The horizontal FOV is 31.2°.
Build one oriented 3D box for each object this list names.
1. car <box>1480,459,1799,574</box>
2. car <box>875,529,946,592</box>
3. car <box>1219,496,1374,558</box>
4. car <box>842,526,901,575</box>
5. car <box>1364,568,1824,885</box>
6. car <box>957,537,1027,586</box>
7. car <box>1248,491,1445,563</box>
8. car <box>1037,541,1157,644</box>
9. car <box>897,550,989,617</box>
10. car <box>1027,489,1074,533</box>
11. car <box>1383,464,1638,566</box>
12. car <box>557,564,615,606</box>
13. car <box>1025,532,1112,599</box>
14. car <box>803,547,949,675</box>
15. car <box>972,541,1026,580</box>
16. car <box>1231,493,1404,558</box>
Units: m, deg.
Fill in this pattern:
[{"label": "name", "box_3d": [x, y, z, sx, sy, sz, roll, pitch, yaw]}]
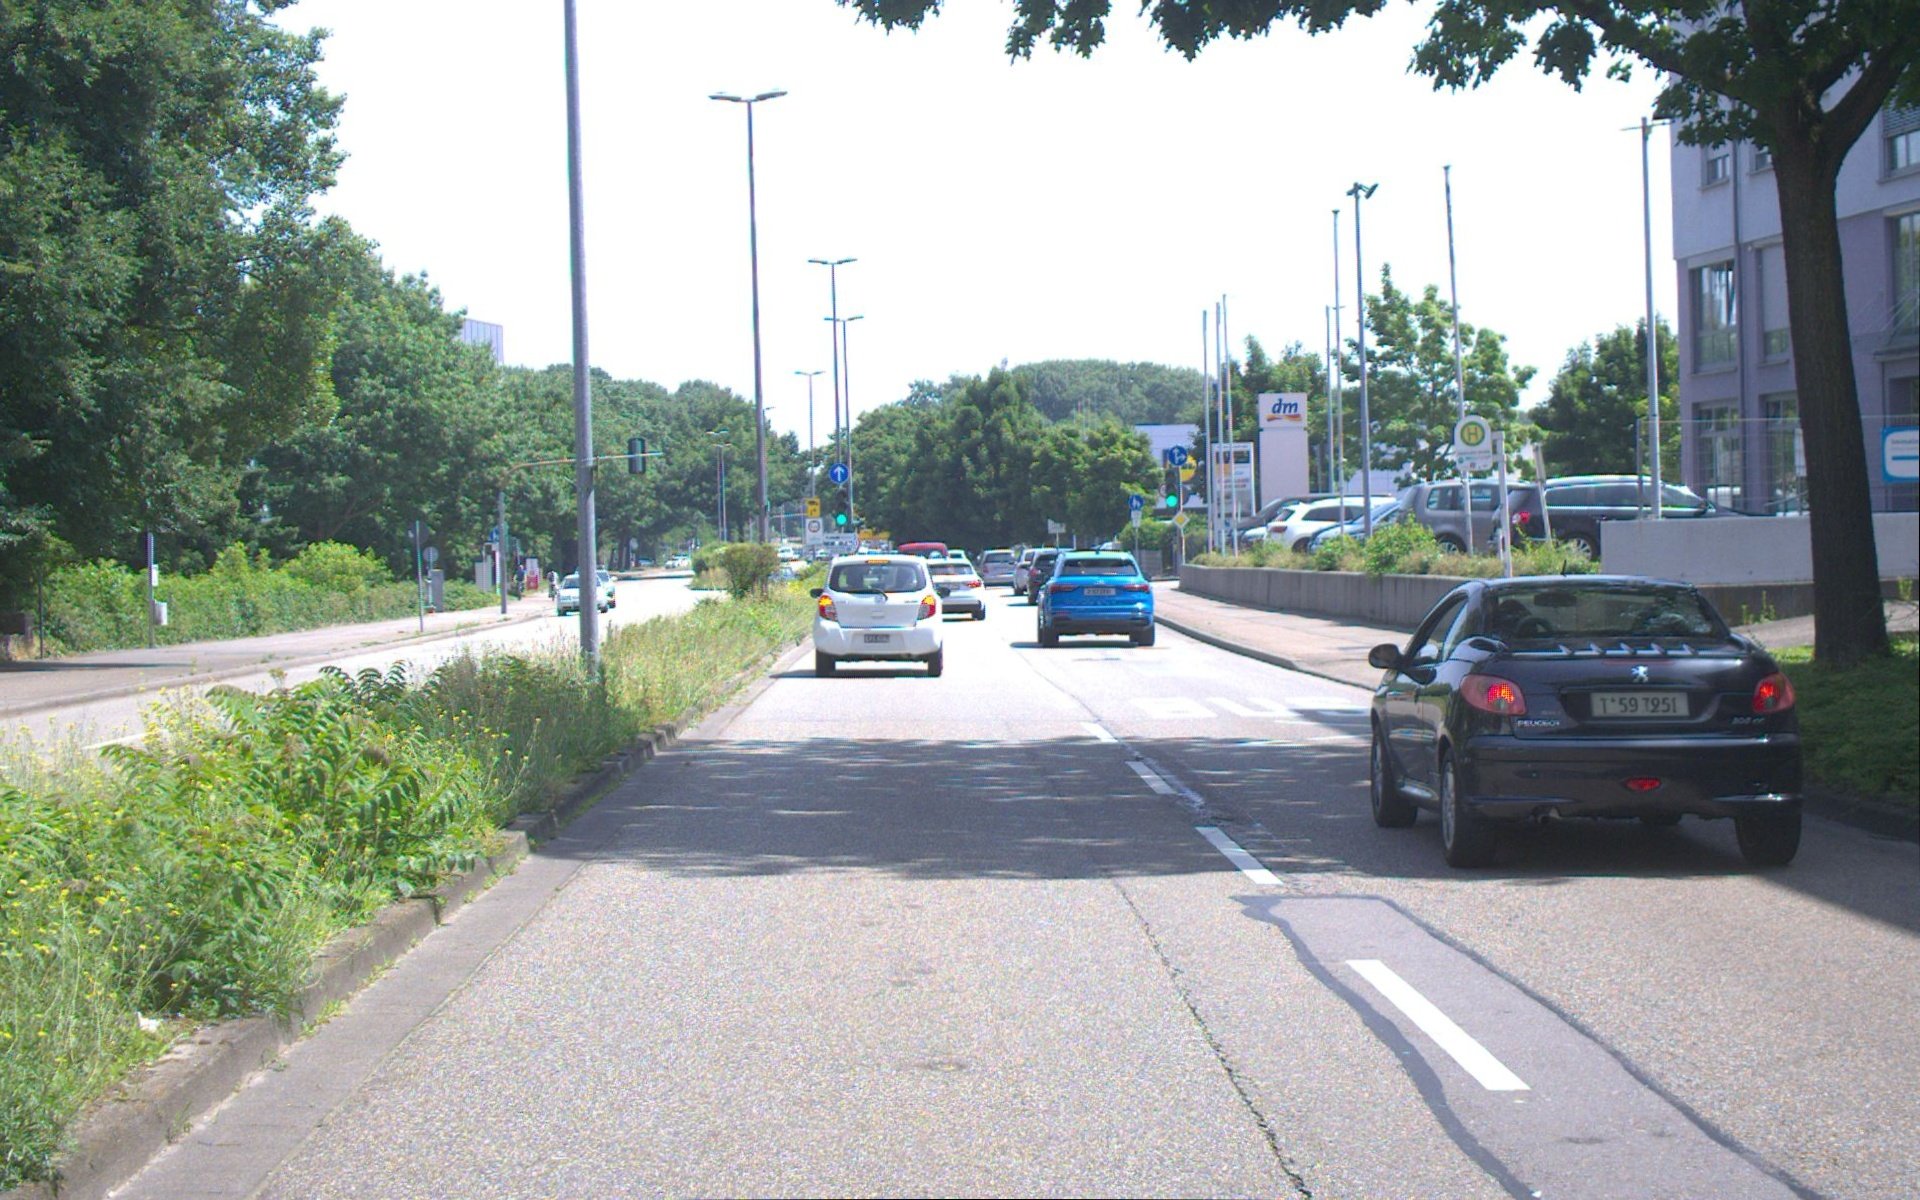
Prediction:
[{"label": "car", "box_3d": [10.574, -1.292, 53.744, 4.499, 1.577, 2.000, -3, 1, -1]}, {"label": "car", "box_3d": [-1.464, -1.149, 100.410, 1.775, 1.734, 4.001, -2, 1, -4]}, {"label": "car", "box_3d": [9.344, -2.032, 95.647, 3.986, 1.539, 2.000, -3, 1, -2]}, {"label": "car", "box_3d": [-3.228, -1.814, 124.885, 1.819, 1.656, 4.001, -2, 2, -5]}, {"label": "car", "box_3d": [3.072, 0.555, 17.316, 1.627, 1.359, 3.606, 0, 2, 0]}, {"label": "car", "box_3d": [0.969, -1.187, 105.998, 1.993, 1.415, 4.000, -2, 1, -1]}, {"label": "car", "box_3d": [9.453, -1.781, 84.374, 4.535, 1.539, 2.000, -3, 1, -1]}, {"label": "car", "box_3d": [2.266, -0.145, 57.632, 1.828, 1.575, 3.606, -2, 2, 0]}, {"label": "car", "box_3d": [-0.418, -0.392, 78.735, 1.993, 1.437, 4.000, -2, 1, -1]}, {"label": "car", "box_3d": [4.325, -4.266, 164.002, 1.769, 2.006, 3.992, -2, 2, -4]}, {"label": "car", "box_3d": [9.967, -1.527, 62.472, 4.226, 1.641, 2.000, -3, 1, -1]}, {"label": "car", "box_3d": [-13.337, -0.546, 122.623, 1.736, 1.408, 4.372, -2, 1, -3]}, {"label": "car", "box_3d": [2.807, -0.920, 89.841, 1.993, 1.634, 4.000, -2, 1, -1]}, {"label": "car", "box_3d": [-1.044, 0.111, 44.319, 1.748, 1.515, 3.746, 0, 2, 0]}, {"label": "car", "box_3d": [1.581, -1.615, 139.736, 1.993, 1.503, 4.000, -2, 1, -1]}, {"label": "car", "box_3d": [9.636, -1.996, 92.907, 4.346, 1.539, 2.000, -3, 1, -2]}]
